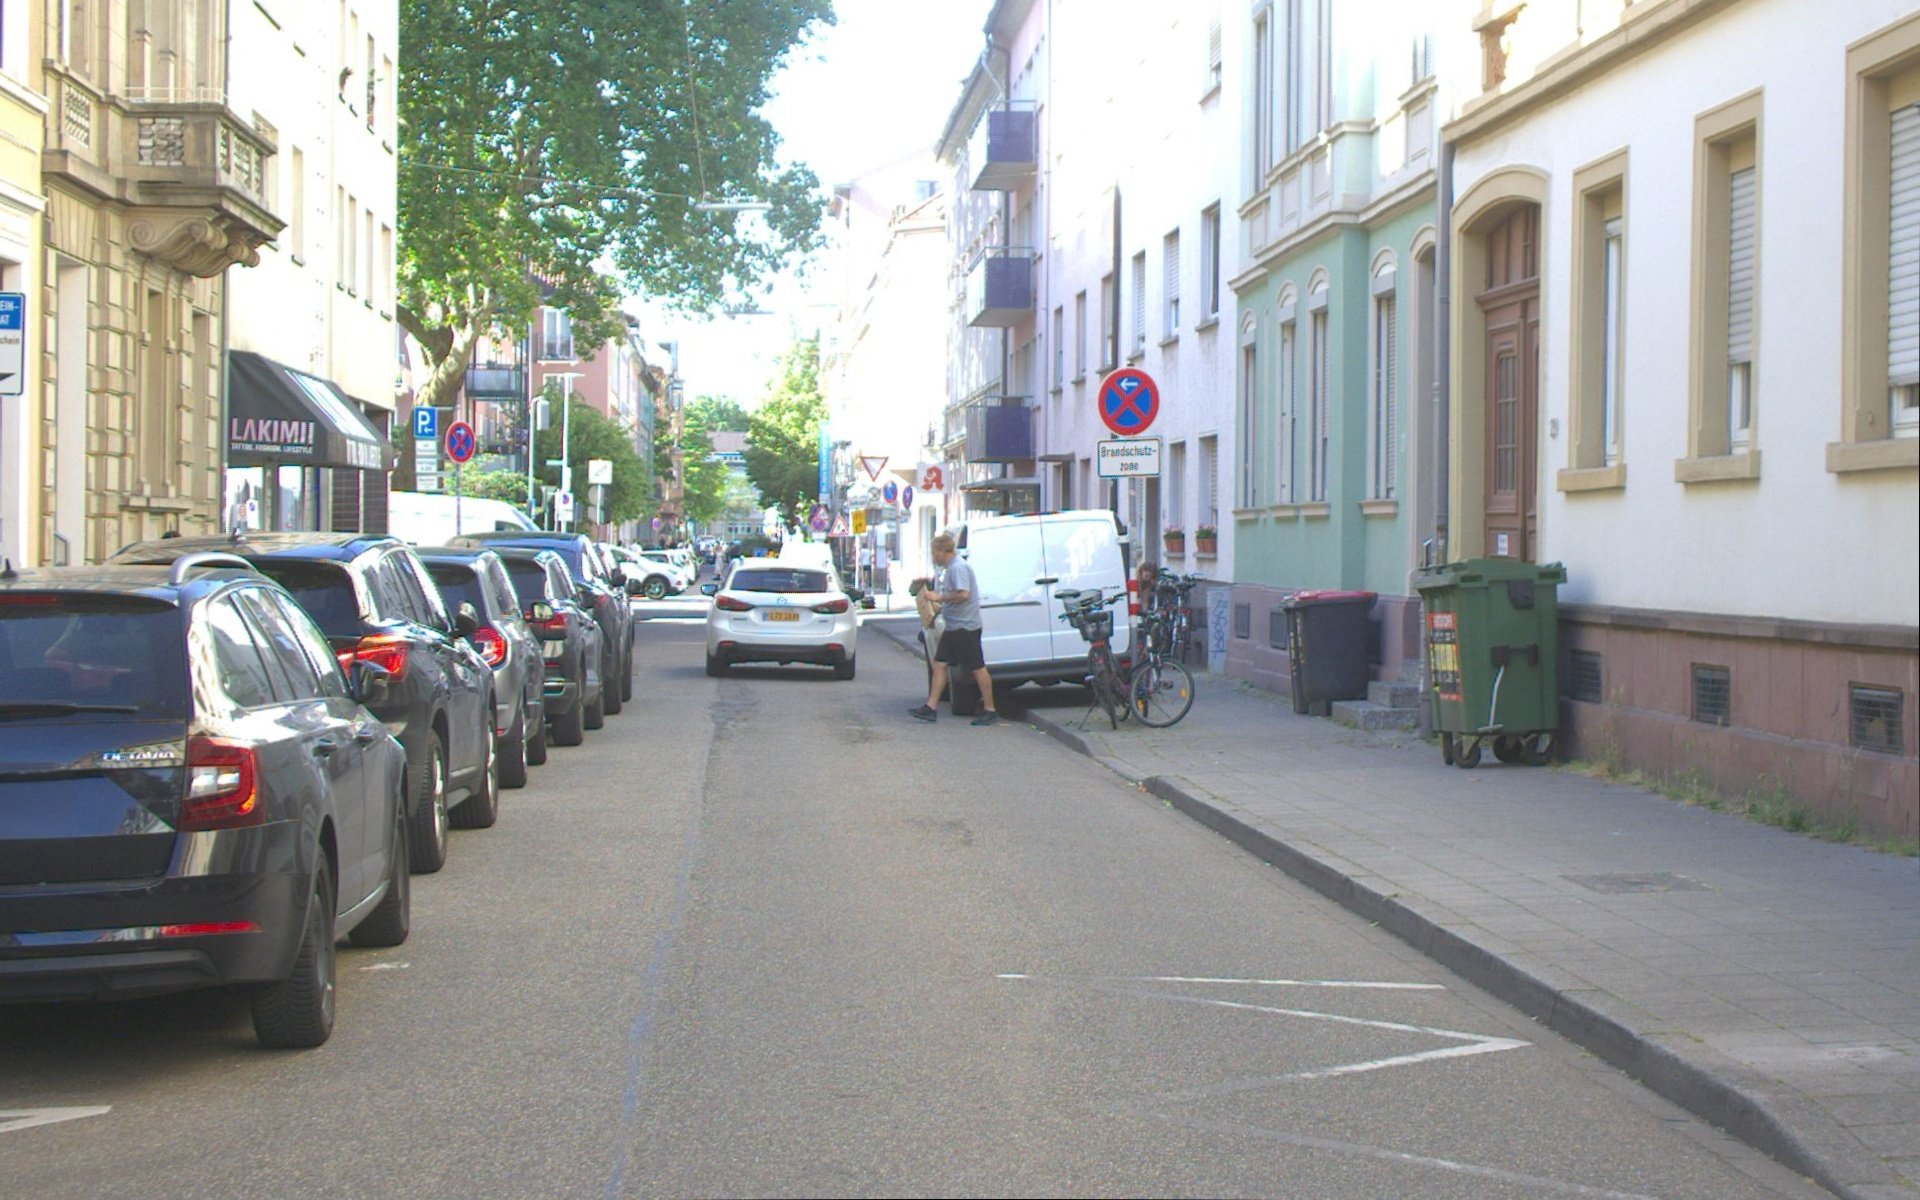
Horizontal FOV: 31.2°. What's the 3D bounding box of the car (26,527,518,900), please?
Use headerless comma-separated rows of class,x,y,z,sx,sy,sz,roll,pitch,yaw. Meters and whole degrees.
car,-3.300,0.446,17.325,1.744,1.609,4.603,0,1,-3

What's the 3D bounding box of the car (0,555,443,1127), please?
car,-2.800,0.619,11.484,1.713,1.483,4.853,-2,1,-4

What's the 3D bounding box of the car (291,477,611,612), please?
car,-11.366,-1.232,77.125,6.738,2.546,2.146,4,0,-2

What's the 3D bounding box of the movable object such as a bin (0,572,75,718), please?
movable object such as a bin,-7.271,0.342,26.605,0.735,1.085,0.683,1,2,-7

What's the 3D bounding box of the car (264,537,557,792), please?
car,-3.608,0.365,23.112,1.615,1.548,3.978,1,1,-4

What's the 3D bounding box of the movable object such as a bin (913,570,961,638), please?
movable object such as a bin,-0.375,0.062,54.900,0.732,1.077,0.703,1,0,-2

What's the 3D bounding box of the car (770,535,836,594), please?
car,-5.387,-1.224,117.492,1.942,1.941,4.079,2,1,-6

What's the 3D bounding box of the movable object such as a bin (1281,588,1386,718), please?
movable object such as a bin,3.179,0.448,29.318,0.797,1.092,0.642,1,0,-1

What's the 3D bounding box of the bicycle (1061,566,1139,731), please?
bicycle,1.169,0.385,29.033,0.575,1.316,2.199,0,1,0

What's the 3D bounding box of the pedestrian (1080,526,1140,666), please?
pedestrian,1.841,-0.051,42.153,0.655,1.705,0.686,1,0,9

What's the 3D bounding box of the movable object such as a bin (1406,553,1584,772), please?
movable object such as a bin,3.522,0.411,22.731,0.837,1.385,1.297,-2,-1,-5

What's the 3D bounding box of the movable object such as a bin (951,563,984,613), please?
movable object such as a bin,0.165,-0.261,75.140,0.701,1.069,0.596,1,0,-2

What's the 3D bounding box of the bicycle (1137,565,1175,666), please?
bicycle,2.405,0.182,42.131,0.438,1.202,2.266,1,0,3

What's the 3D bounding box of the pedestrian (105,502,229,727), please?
pedestrian,-6.211,0.099,26.949,0.764,1.708,0.883,2,1,-4

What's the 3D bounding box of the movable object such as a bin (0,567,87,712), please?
movable object such as a bin,-7.327,0.308,27.224,0.719,1.128,0.585,1,0,-7

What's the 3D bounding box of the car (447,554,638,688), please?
car,-4.688,0.212,39.163,1.845,1.412,4.818,-1,0,-3

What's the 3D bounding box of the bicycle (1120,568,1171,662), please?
bicycle,2.325,0.187,43.218,0.568,1.149,1.868,1,0,1

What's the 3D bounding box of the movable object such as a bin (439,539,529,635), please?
movable object such as a bin,-7.557,-0.206,54.653,1.296,1.493,1.179,1,0,-4

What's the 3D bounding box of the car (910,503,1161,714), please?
car,0.669,0.029,34.974,1.983,1.877,5.600,-3,1,-4

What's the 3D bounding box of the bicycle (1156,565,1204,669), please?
bicycle,2.608,0.190,40.804,0.405,1.202,2.159,1,0,0

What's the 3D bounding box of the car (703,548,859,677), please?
car,-2.266,0.124,42.740,1.823,1.509,3.824,1,1,-4

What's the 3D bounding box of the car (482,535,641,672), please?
car,-5.104,0.000,44.529,1.782,1.661,4.671,-1,1,-3

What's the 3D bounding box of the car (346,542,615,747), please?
car,-3.800,0.300,27.876,1.713,1.526,4.367,0,1,-2

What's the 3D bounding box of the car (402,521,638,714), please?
car,-4.180,0.120,33.382,1.936,1.730,5.143,0,1,-4

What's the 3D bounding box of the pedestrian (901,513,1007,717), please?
pedestrian,-0.062,0.134,31.383,0.865,1.830,0.884,1,0,-5

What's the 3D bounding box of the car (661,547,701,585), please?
car,-11.862,-1.424,146.191,1.572,1.580,3.611,1,0,-3

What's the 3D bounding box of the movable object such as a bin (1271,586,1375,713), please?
movable object such as a bin,3.161,0.426,29.990,0.812,1.084,0.674,1,0,-1

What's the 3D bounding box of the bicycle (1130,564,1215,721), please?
bicycle,1.802,0.337,29.390,0.575,1.266,2.199,-1,1,0
